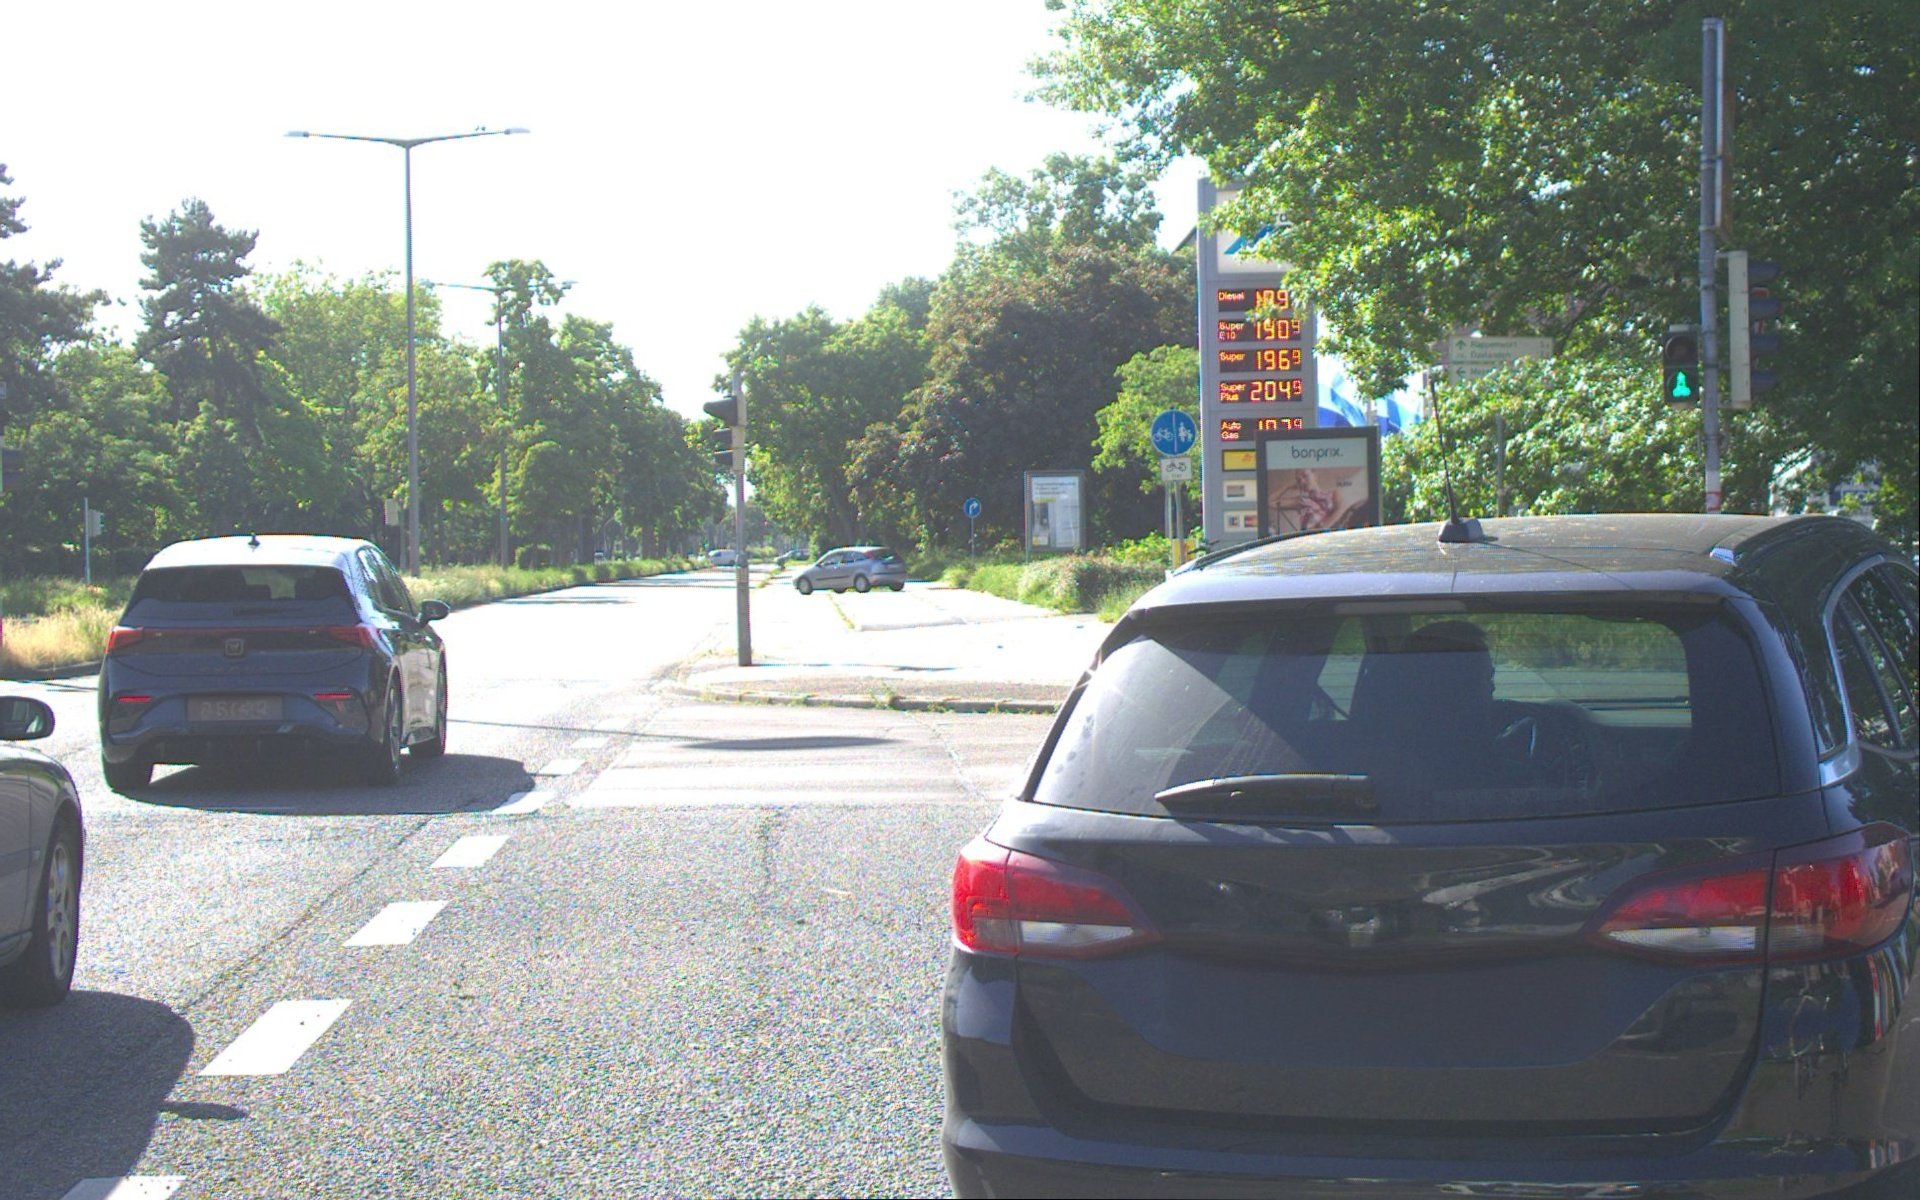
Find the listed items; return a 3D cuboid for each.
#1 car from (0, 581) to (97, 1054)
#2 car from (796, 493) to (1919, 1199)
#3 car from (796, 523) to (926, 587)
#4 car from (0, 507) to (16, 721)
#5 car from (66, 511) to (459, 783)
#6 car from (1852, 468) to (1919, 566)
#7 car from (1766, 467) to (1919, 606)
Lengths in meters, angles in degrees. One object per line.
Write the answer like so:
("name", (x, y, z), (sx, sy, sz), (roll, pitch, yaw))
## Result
("car", (-3.712, 0.648, 9.409), (1.836, 1.390, 4.365), (1, 1, -4))
("car", (1.339, 0.545, 7.126), (1.763, 1.486, 4.287), (0, 2, 21))
("car", (-3.179, -1.443, 109.670), (1.994, 2.007, 3.998), (0, 1, -43))
("car", (-8.278, 0.116, 24.773), (1.910, 1.647, 4.365), (1, 1, -3))
("car", (-4.397, 0.246, 22.298), (1.836, 1.583, 4.365), (0, 1, -3))
("car", (14.756, -1.120, 48.142), (3.986, 1.330, 1.800), (1, 1, -13))
("car", (15.604, -0.953, 53.425), (5.634, 2.092, 2.000), (1, 1, -3))
